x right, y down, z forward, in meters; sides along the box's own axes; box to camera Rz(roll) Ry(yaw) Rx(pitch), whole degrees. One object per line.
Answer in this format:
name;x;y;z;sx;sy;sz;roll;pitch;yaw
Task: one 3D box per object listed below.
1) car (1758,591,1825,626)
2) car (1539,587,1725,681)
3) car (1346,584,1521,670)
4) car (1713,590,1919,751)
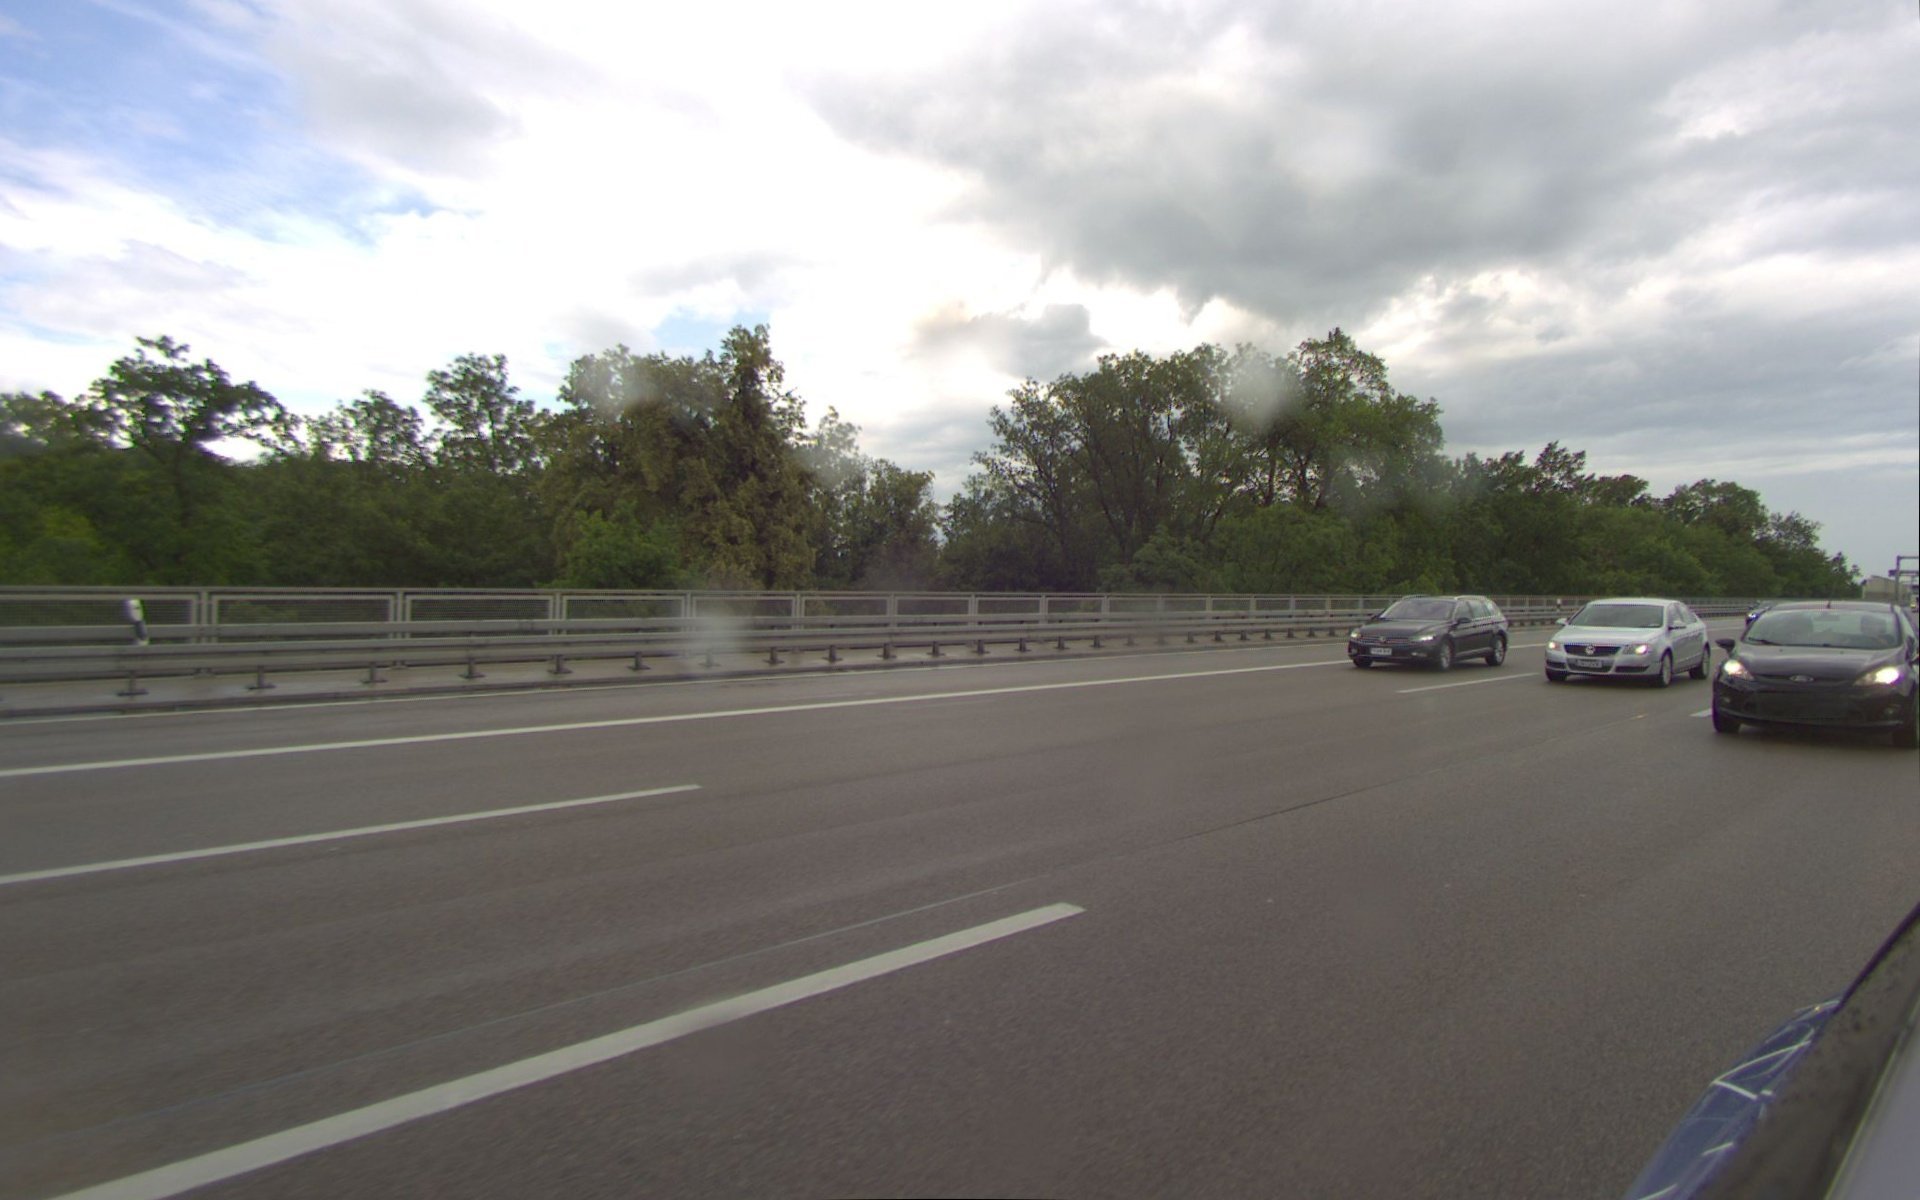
car;36.906;0.365;44.870;4.511;1.465;1.779;0;1;-44
car;12.050;0.524;18.042;4.175;1.465;1.895;0;1;-44
car;9.807;0.492;20.802;4.285;1.562;1.817;0;1;-44
car;9.992;0.630;11.394;4.331;1.458;1.666;-1;1;-43
